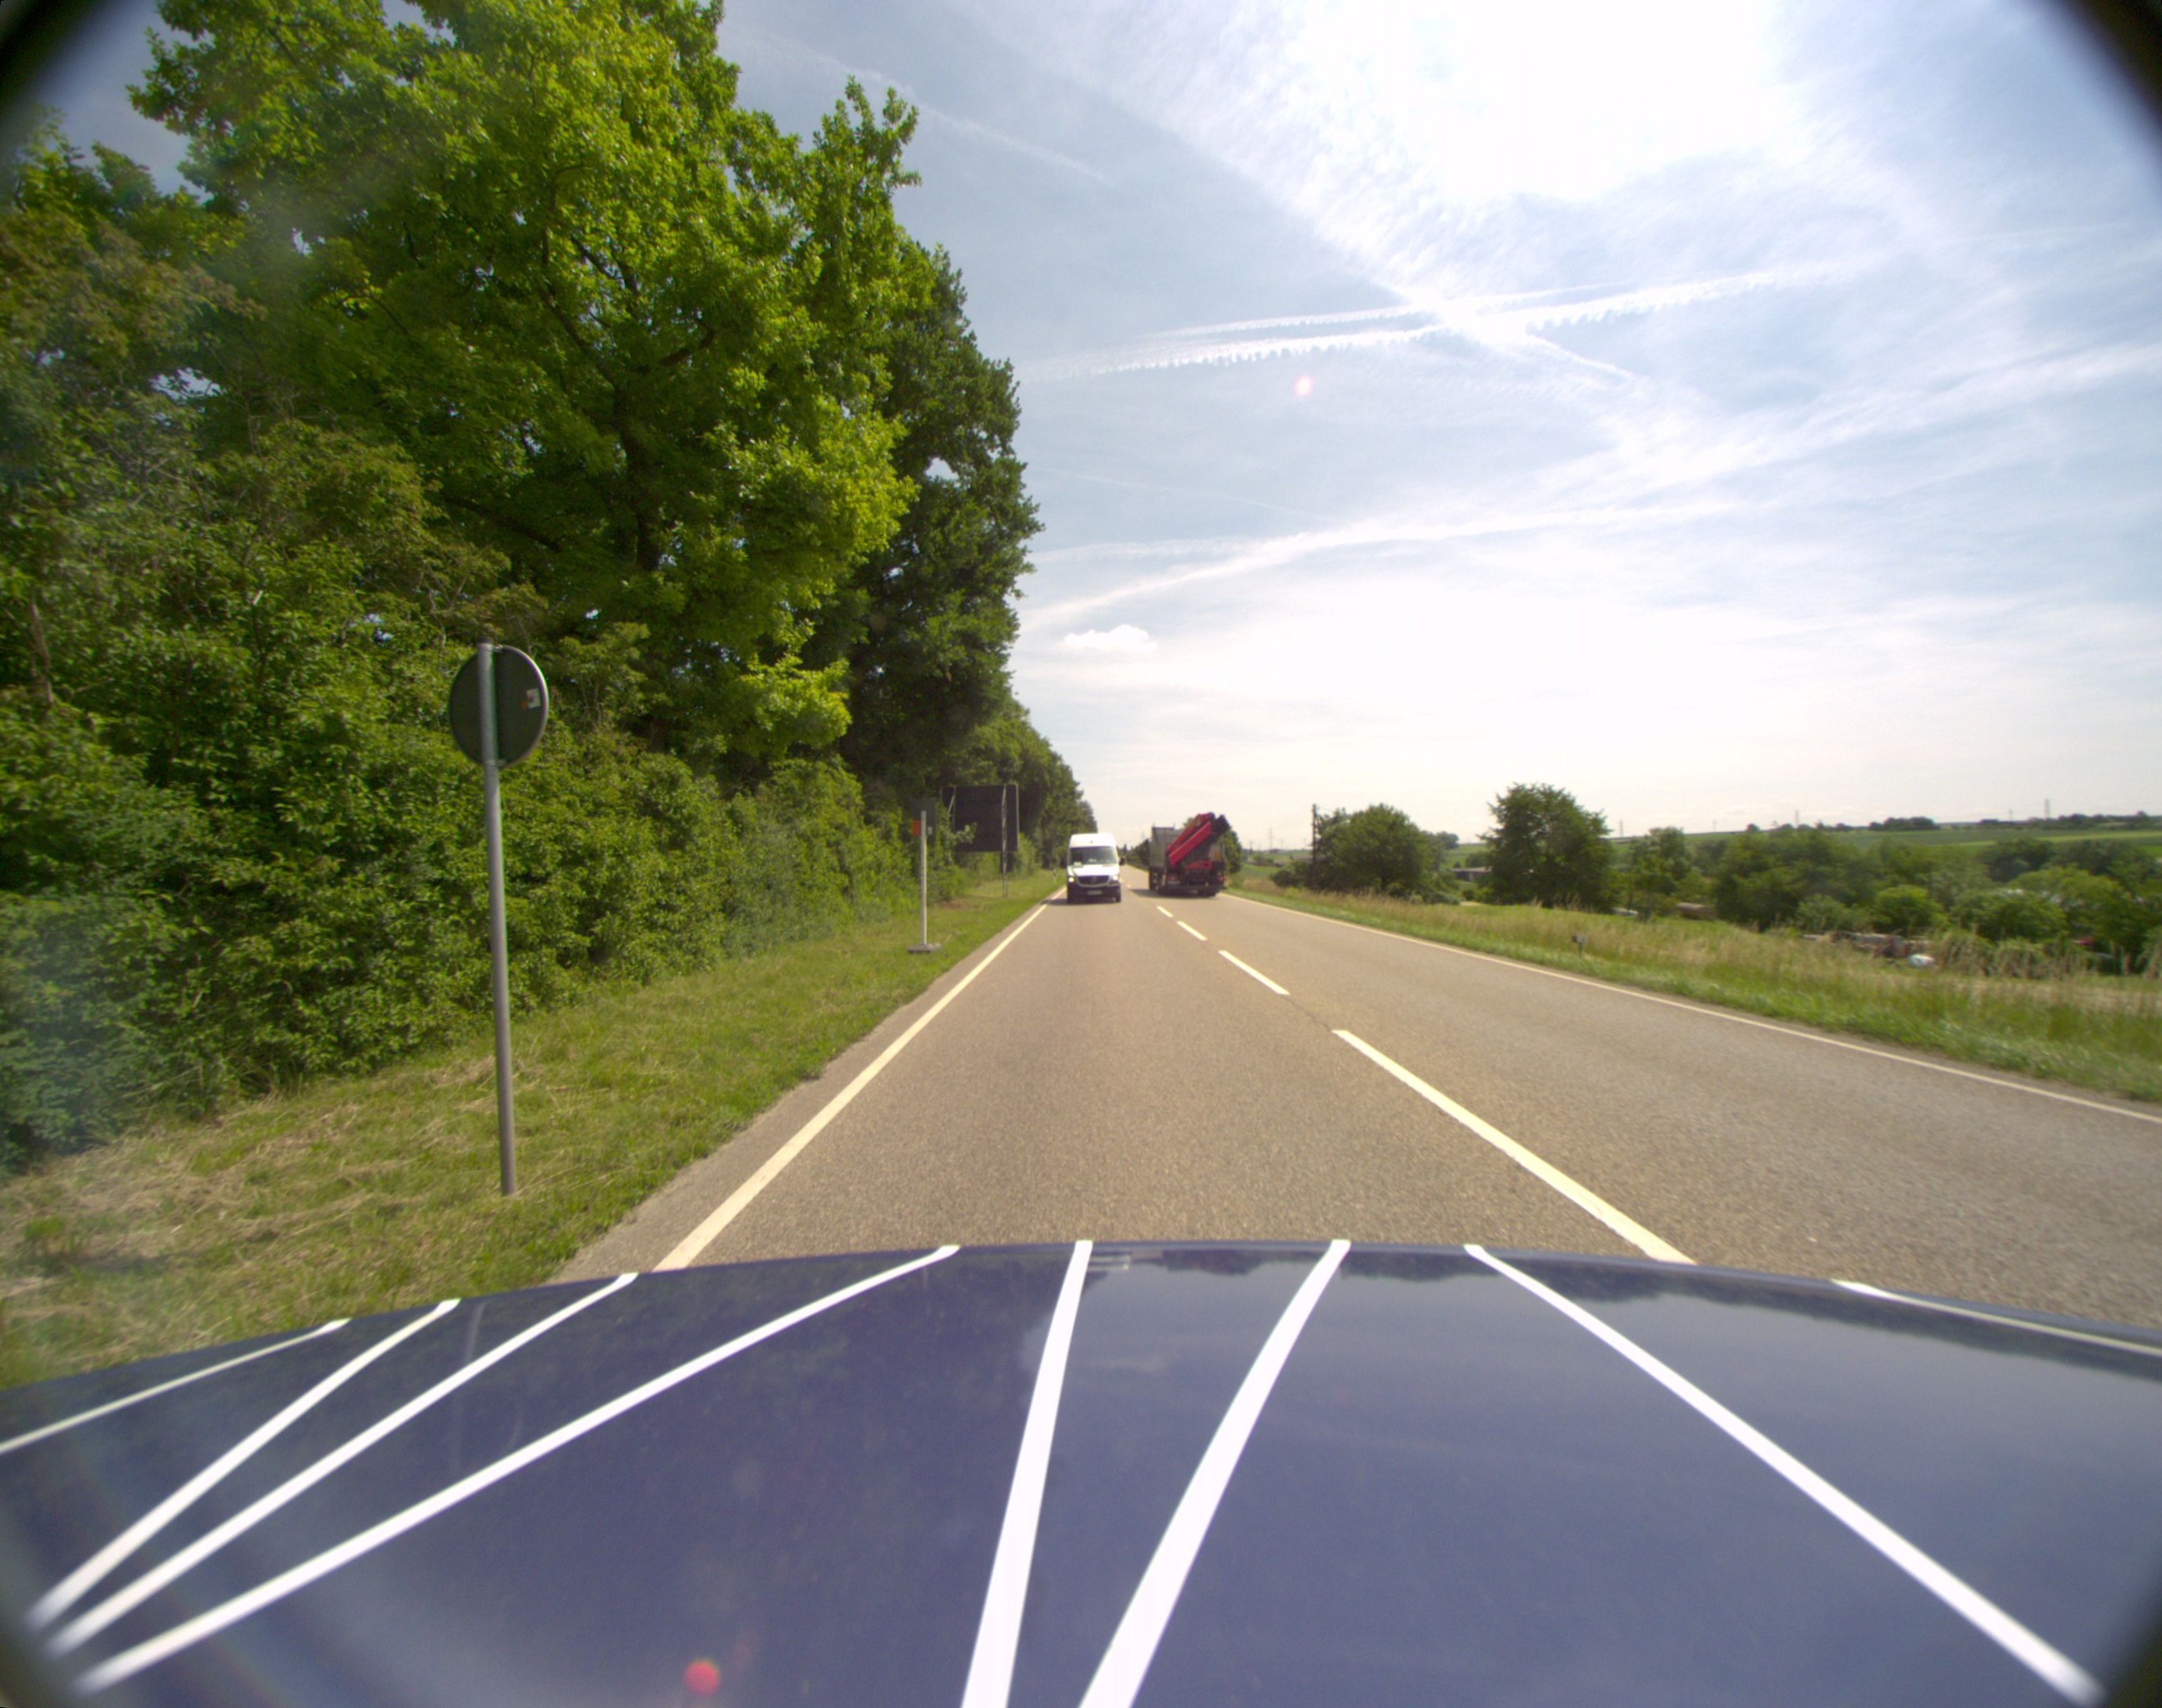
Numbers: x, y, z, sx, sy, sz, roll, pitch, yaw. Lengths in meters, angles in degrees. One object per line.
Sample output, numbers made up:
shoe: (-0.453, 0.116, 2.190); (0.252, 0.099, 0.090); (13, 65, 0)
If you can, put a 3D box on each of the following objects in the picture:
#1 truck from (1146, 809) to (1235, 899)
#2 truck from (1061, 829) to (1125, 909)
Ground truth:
truck: (4.844, 0.056, 35.874); (2.763, 3.555, 11.066); (1, 0, 1)
truck: (0.588, 0.491, 28.803); (2.022, 2.567, 7.227); (-2, 0, 3)
